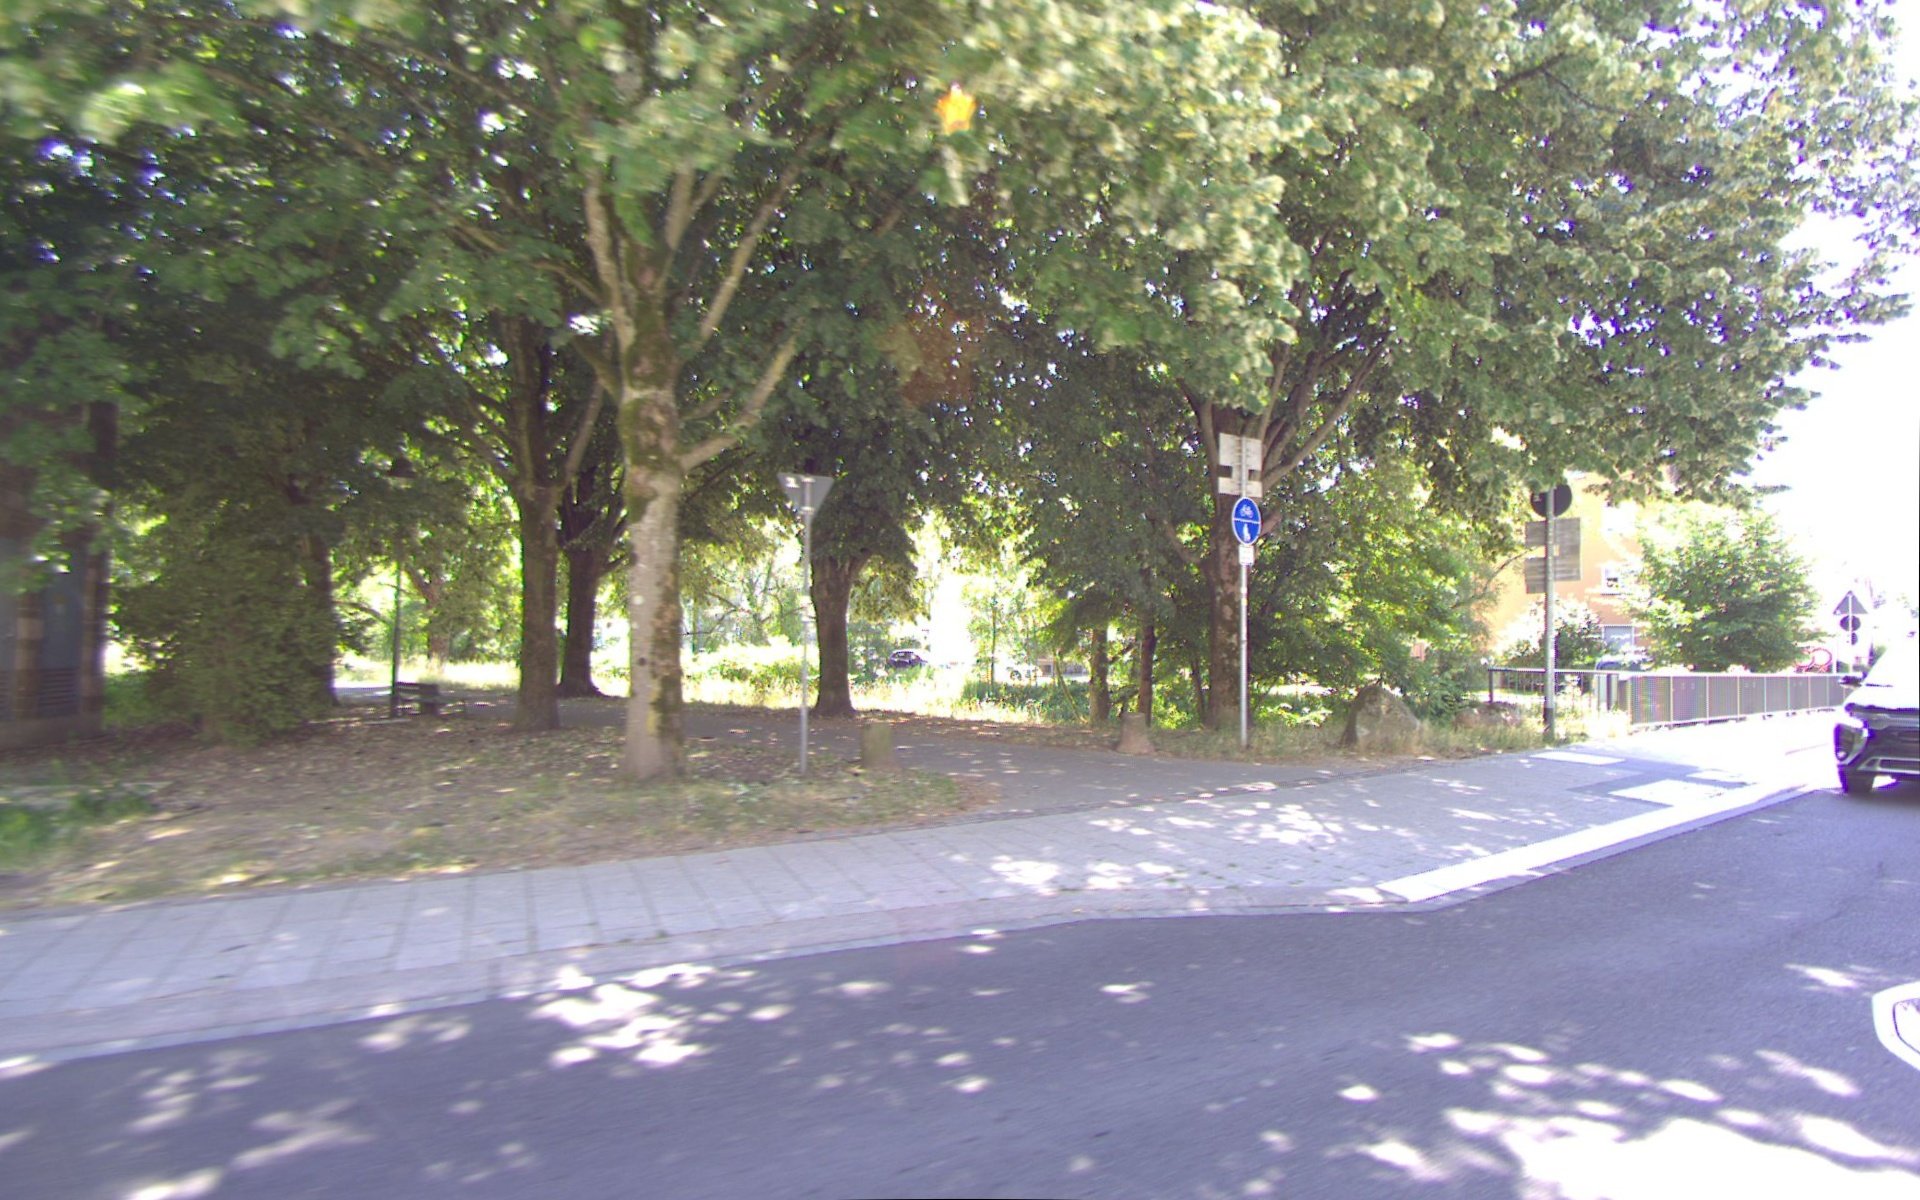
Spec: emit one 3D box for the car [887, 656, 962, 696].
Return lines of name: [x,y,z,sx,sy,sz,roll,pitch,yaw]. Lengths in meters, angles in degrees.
car: [-2.039,4.322,57.651,3.934,2.040,1.993,0,-2,36]

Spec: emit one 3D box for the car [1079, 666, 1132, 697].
car: [9.072,5.016,62.346,1.964,1.706,3.993,0,-2,30]

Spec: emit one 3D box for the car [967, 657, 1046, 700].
car: [2.455,4.153,53.580,1.985,2.040,3.951,2,-2,-42]

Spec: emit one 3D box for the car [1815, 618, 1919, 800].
car: [11.246,1.148,11.169,4.298,1.795,1.729,2,-4,-37]

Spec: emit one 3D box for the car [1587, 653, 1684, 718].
car: [23.187,2.865,34.441,3.972,2.040,1.975,2,-2,-44]

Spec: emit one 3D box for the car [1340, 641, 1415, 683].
car: [21.516,3.190,51.714,3.968,2.040,1.977,3,-2,-40]
